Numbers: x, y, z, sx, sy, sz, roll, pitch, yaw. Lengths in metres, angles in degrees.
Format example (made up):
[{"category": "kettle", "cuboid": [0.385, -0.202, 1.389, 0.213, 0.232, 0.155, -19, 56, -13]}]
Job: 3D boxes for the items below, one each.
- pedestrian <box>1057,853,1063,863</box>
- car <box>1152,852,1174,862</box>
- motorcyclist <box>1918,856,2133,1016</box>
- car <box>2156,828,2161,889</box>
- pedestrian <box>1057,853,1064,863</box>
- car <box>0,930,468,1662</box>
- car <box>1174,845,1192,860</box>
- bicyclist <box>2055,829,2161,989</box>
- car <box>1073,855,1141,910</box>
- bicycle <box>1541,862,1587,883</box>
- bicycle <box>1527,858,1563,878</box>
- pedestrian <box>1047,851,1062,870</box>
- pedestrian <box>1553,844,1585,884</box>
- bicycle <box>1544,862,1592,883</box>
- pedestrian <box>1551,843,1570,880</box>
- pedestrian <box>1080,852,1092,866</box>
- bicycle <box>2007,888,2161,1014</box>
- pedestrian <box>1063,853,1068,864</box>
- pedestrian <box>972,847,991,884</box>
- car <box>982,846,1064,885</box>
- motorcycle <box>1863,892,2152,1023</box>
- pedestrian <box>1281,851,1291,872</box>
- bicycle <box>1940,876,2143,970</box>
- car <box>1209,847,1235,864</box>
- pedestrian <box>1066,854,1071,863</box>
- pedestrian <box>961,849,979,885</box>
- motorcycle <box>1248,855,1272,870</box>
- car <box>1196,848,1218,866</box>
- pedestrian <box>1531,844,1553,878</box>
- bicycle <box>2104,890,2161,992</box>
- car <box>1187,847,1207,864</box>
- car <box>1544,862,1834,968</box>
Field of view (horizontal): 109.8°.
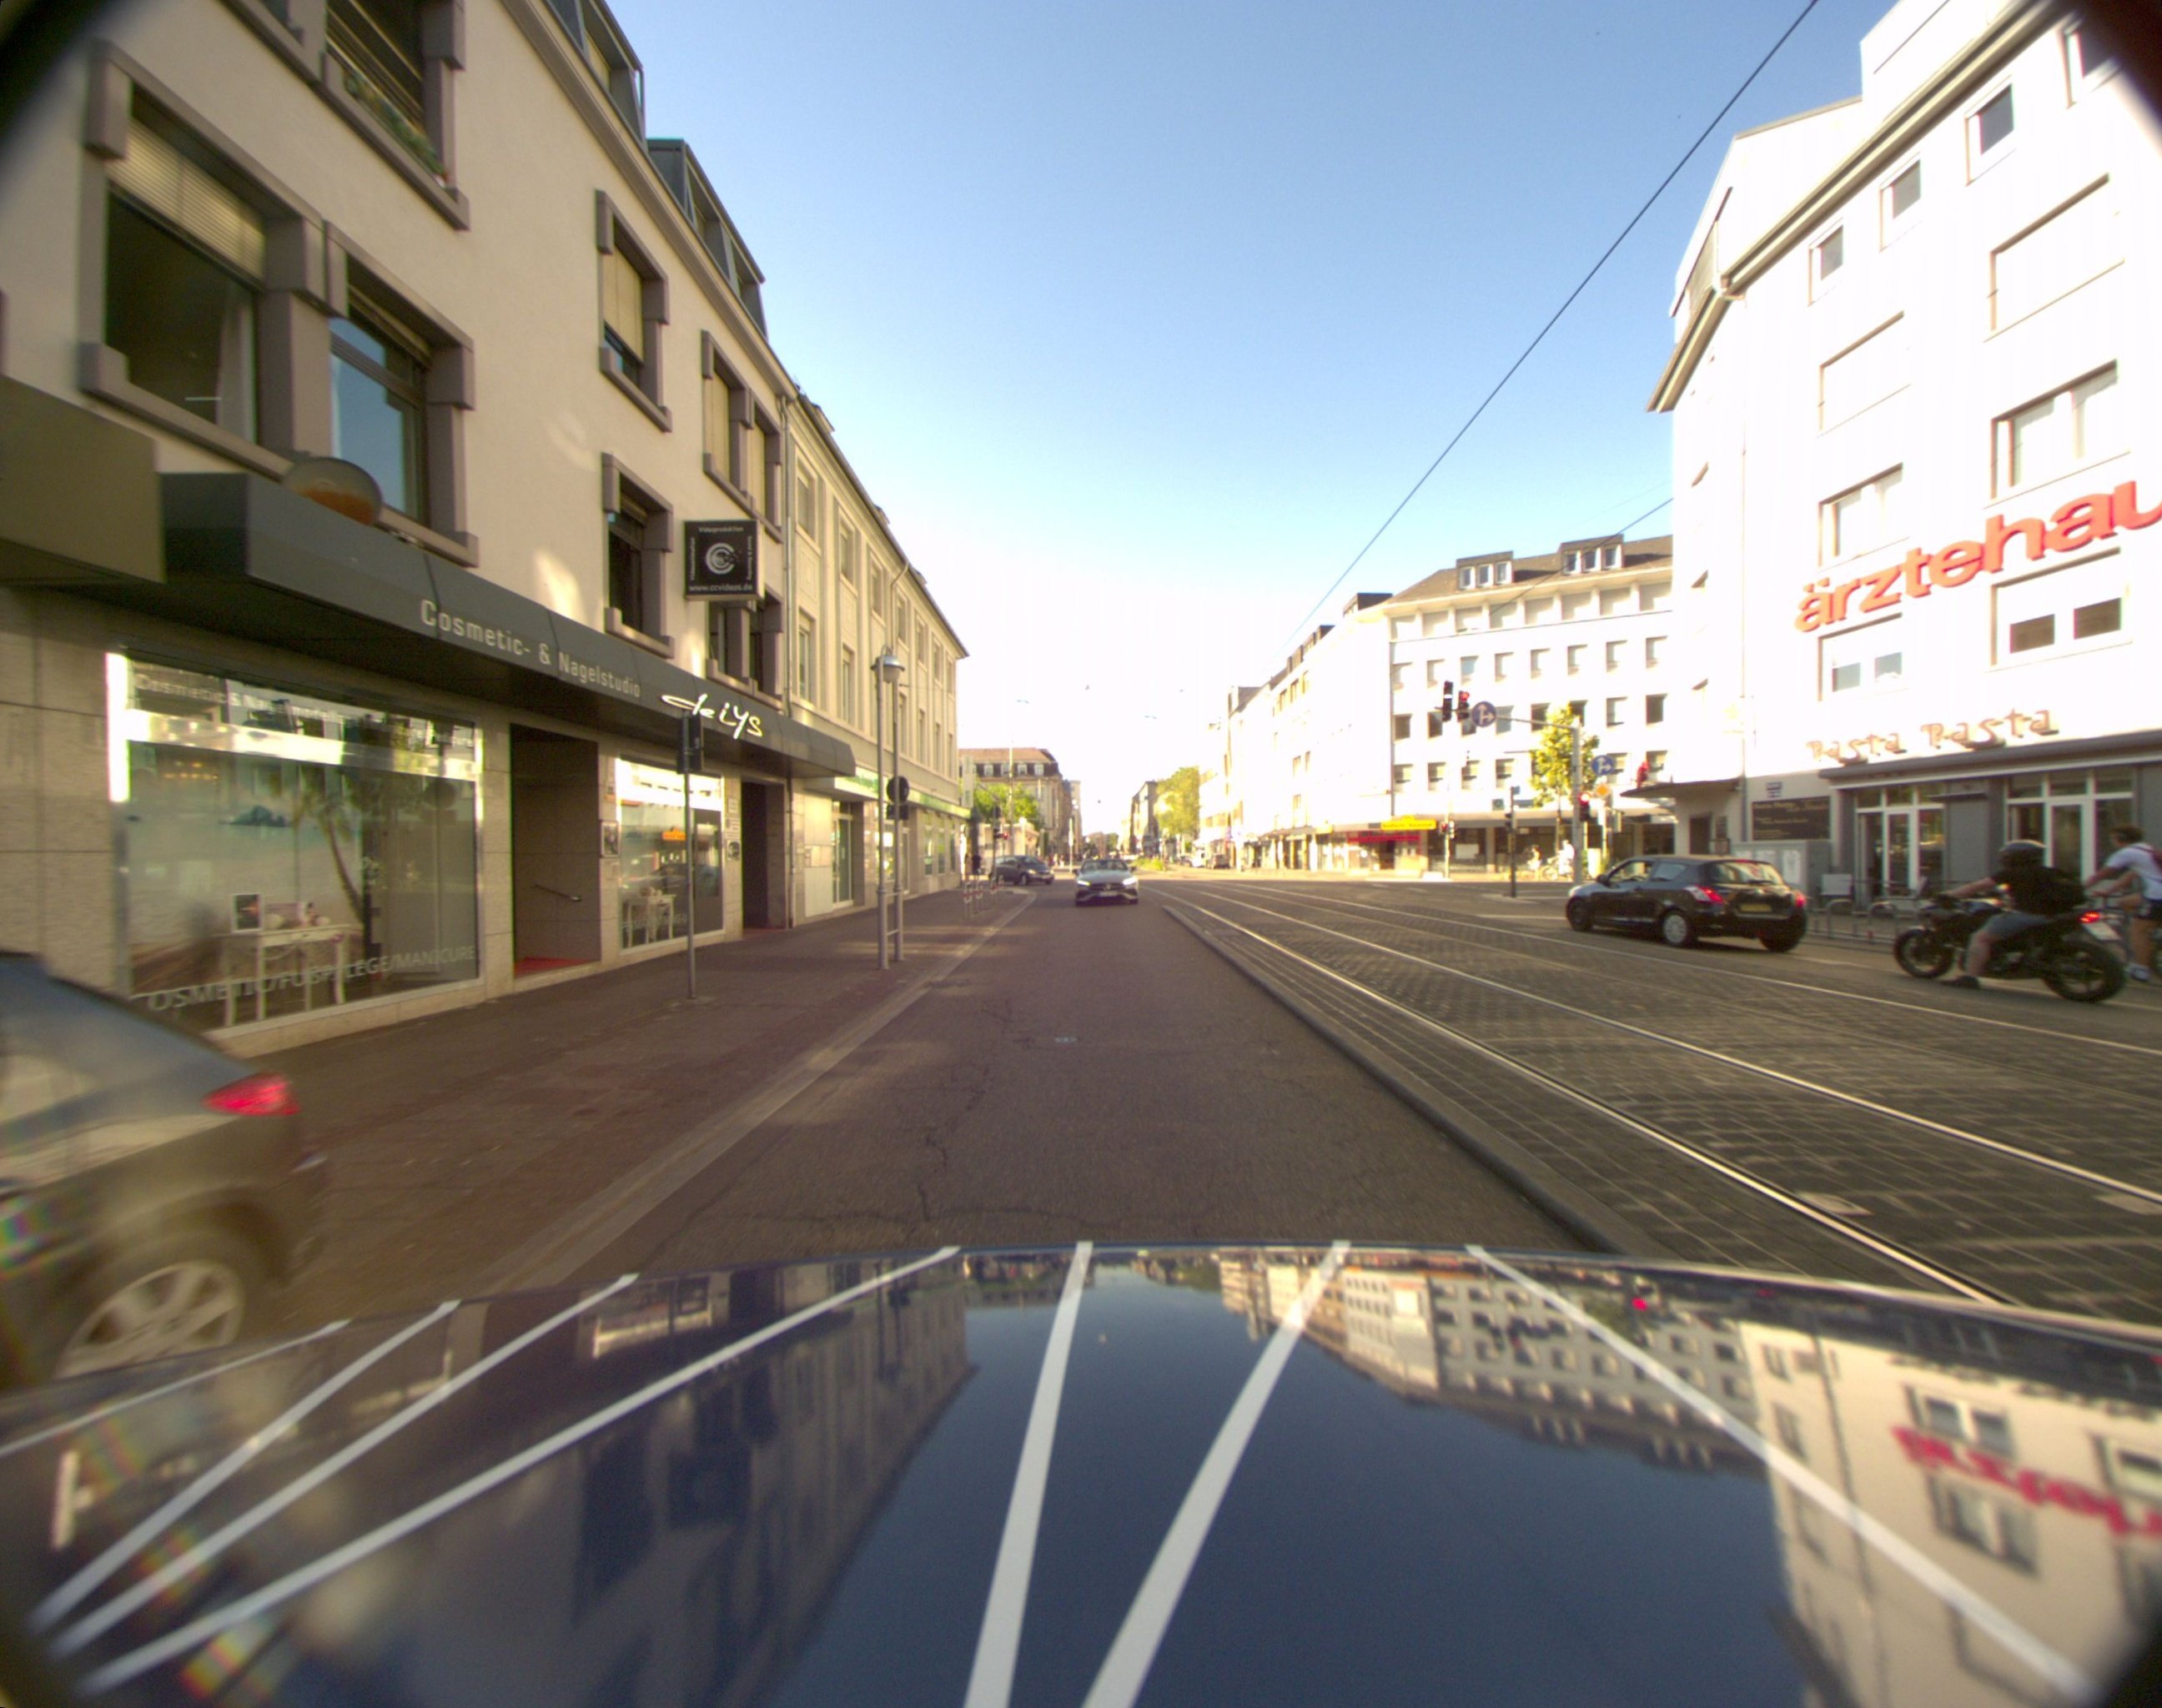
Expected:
[{"category": "pedestrian", "cuboid": [-2.617, 0.539, 94.612, 0.622, 1.266, 0.779, -1, 1, -2]}, {"category": "car", "cuboid": [15.341, 0.588, 142.980, 3.996, 1.787, 2.000, -1, 0, 2]}, {"category": "motorcyclist", "cuboid": [9.862, 0.798, 7.999, 0.805, 1.549, 1.146, 0, 1, 2]}, {"category": "car", "cuboid": [34.386, 0.123, 21.441, 4.277, 1.841, 1.913, -1, 1, 25]}, {"category": "pedestrian", "cuboid": [-3.147, 0.620, 117.185, 0.946, 1.456, 0.780, -1, 1, 3]}, {"category": "car", "cuboid": [-3.324, 1.033, 0.725, 1.852, 1.453, 4.303, 0, 0, 3]}, {"category": "car", "cuboid": [14.080, -0.265, 104.622, 1.998, 2.002, 4.000, -1, 0, 1]}, {"category": "bicyclist", "cuboid": [11.959, 0.582, 8.463, 0.752, 1.719, 1.146, -1, 1, 2]}, {"category": "car", "cuboid": [0.823, 0.815, 23.762, 1.910, 1.454, 4.364, -2, 1, 2]}, {"category": "bicycle", "cuboid": [23.229, 0.896, 36.575, 1.791, 0.962, 0.554, 0, 0, 13]}, {"category": "bicycle", "cuboid": [23.082, 0.687, 37.815, 1.453, 0.950, 0.482, 0, 0, 11]}, {"category": "pedestrian", "cuboid": [-2.284, 0.564, 65.237, 0.947, 1.653, 0.915, -1, 0, -36]}, {"category": "pedestrian", "cuboid": [23.013, 0.462, 35.869, 1.000, 1.855, 0.781, -1, -2, 11]}, {"category": "bicycle", "cuboid": [22.964, 0.880, 35.843, 1.722, 1.001, 0.762, 0, -2, 13]}, {"category": "pedestrian", "cuboid": [23.087, 0.354, 36.586, 0.558, 1.718, 0.781, -1, 1, 11]}, {"category": "pedestrian", "cuboid": [0.981, 1.037, 150.672, 1.381, 2.774, 1.947, -1, 1, -33]}, {"category": "bicycle", "cuboid": [12.045, 1.081, 8.563, 0.752, 1.285, 2.025, -1, 1, 1]}, {"category": "pedestrian", "cuboid": [-1.969, 0.569, 94.860, 0.509, 1.266, 0.719, -1, 1, -7]}, {"category": "pedestrian", "cuboid": [-4.990, 0.579, 38.153, 0.680, 1.831, 0.643, -1, 1, 25]}, {"category": "car", "cuboid": [-3.075, 0.550, 39.854, 4.085, 1.860, 1.915, 0, 3, 43]}, {"category": "motorcycle", "cuboid": [9.834, 1.030, 8.235, 0.571, 1.113, 2.117, 0, 1, 2]}, {"category": "pedestrian", "cuboid": [16.834, 0.607, 62.335, 0.710, 1.699, 0.561, 0, 0, 22]}, {"category": "bicycle", "cuboid": [13.956, 0.982, 11.074, 2.109, 1.216, 0.773, -2, 1, -4]}, {"category": "car", "cuboid": [14.673, 0.146, 79.383, 1.998, 1.696, 4.000, -1, 0, 1]}, {"category": "pedestrian", "cuboid": [-2.147, 0.761, 128.613, 0.691, 1.372, 0.780, -1, 1, 3]}, {"category": "pedestrian", "cuboid": [-5.568, 0.649, 38.200, 0.648, 1.749, 0.575, -1, 1, 25]}, {"category": "motorcycle", "cuboid": [18.608, 0.916, 78.942, 2.254, 1.496, 1.000, -1, 0, -2]}, {"category": "car", "cuboid": [14.505, 0.383, 87.673, 1.998, 2.002, 4.843, -1, 0, 4]}, {"category": "pedestrian", "cuboid": [22.877, 0.340, 37.712, 0.653, 1.703, 0.793, -1, 1, 10]}, {"category": "bicycle", "cuboid": [13.776, 1.025, 9.169, 1.940, 1.165, 0.773, -2, 1, -4]}, {"category": "car", "cuboid": [14.226, 0.235, 93.342, 1.998, 2.002, 4.000, -1, 0, 1]}, {"category": "car", "cuboid": [10.060, 0.907, 13.070, 1.717, 1.437, 4.139, 2, 0, 2]}]
